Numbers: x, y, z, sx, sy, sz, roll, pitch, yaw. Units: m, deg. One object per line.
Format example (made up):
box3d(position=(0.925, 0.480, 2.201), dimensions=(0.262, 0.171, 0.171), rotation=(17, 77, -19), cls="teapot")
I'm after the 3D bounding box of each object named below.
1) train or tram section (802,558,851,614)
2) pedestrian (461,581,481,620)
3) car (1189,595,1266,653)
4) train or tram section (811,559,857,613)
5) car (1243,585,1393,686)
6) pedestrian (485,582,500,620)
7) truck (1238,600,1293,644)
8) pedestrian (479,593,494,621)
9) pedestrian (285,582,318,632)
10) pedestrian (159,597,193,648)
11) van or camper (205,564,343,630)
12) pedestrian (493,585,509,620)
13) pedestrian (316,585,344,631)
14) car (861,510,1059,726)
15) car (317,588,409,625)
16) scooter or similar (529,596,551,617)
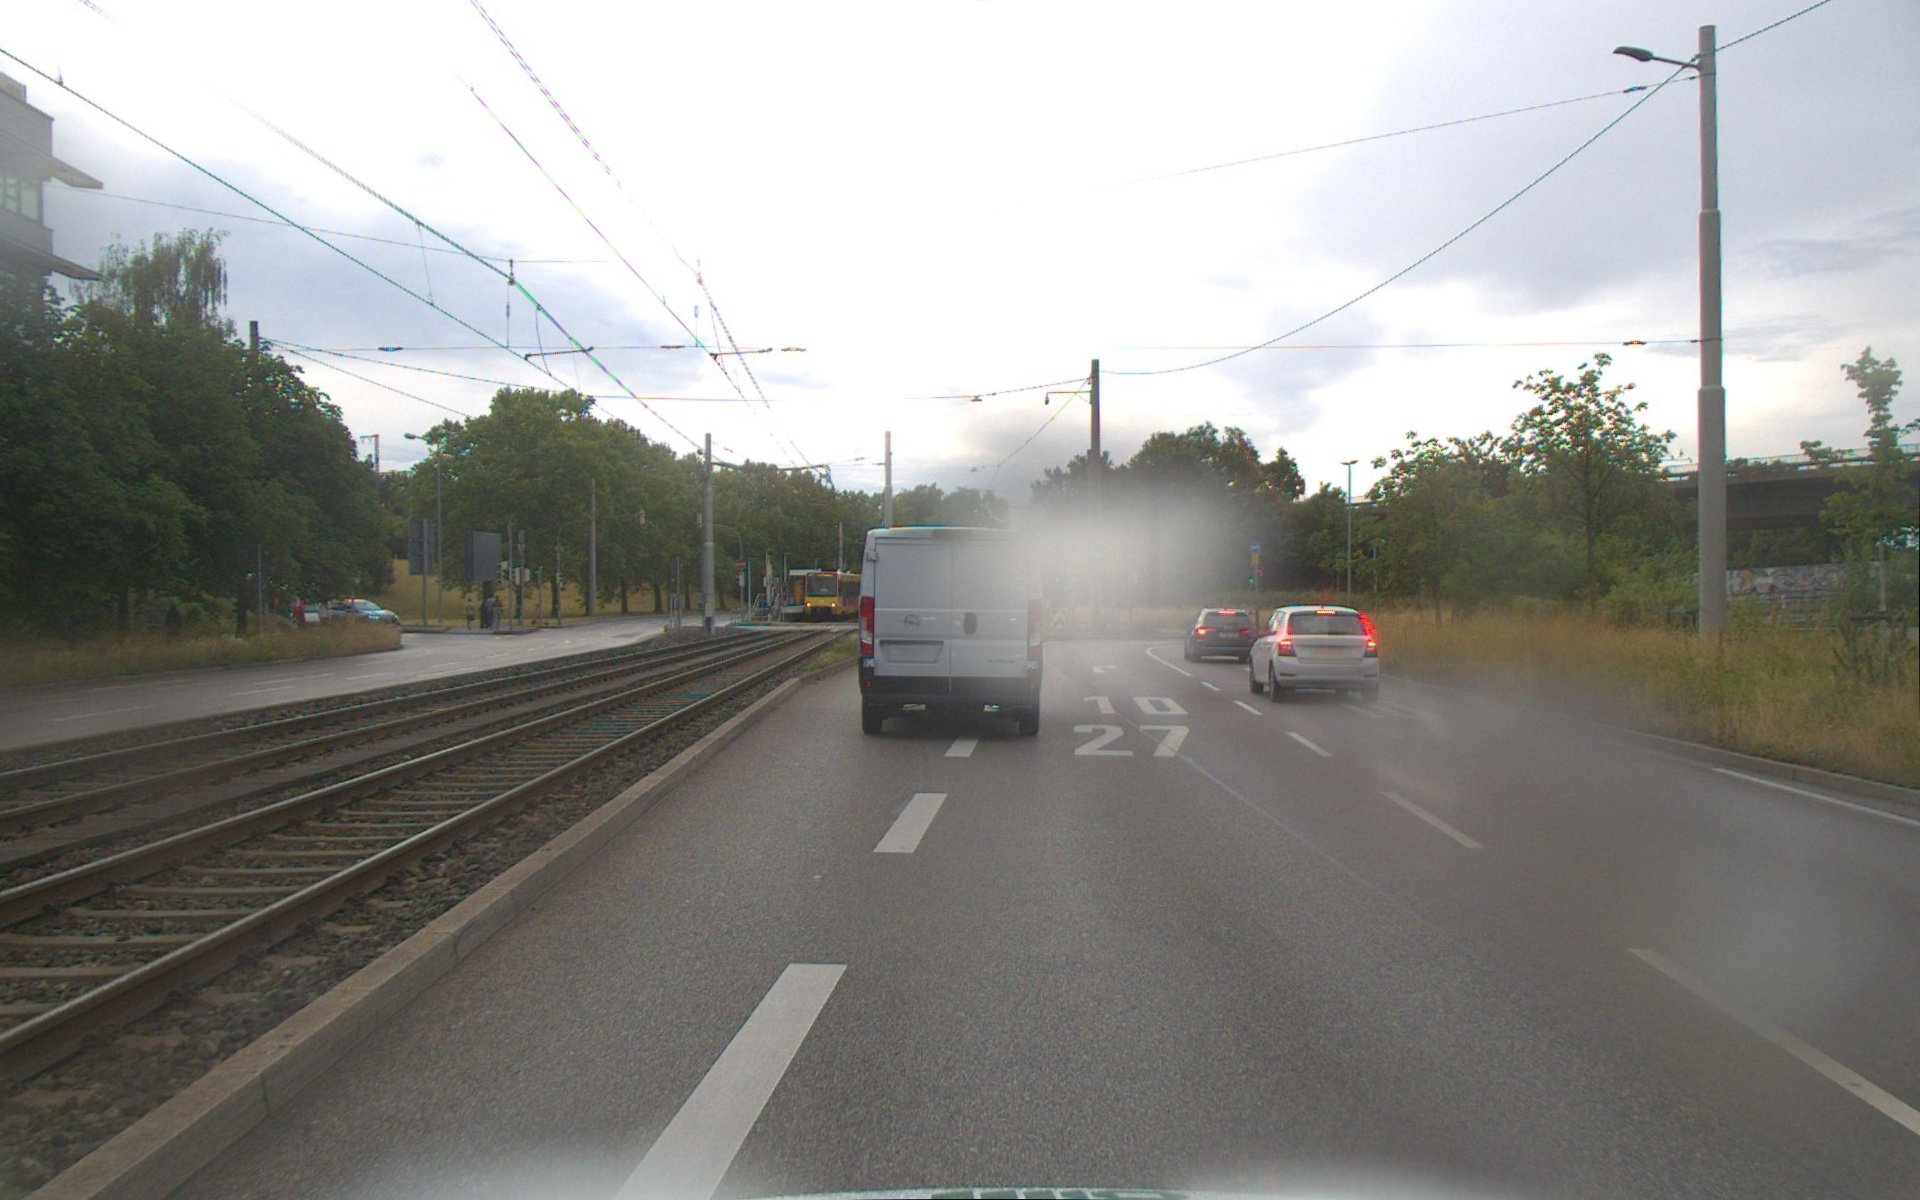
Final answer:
box3d(position=(-9.855, -1.022, 122.693), dimensions=(2.868, 4.001, 7.006), rotation=(2, 0, 1), cls="train or tram section")
box3d(position=(-25.849, 0.035, 87.423), dimensions=(0.870, 2.049, 0.864), rotation=(-1, 0, -6), cls="pedestrian")
box3d(position=(7.140, 0.613, 44.516), dimensions=(1.751, 1.474, 4.002), rotation=(1, 0, 5), cls="car")
box3d(position=(-9.781, -1.056, 129.132), dimensions=(2.868, 4.001, 7.006), rotation=(2, 0, 1), cls="train or tram section")
box3d(position=(5.691, 0.520, 26.658), dimensions=(1.710, 1.483, 3.672), rotation=(1, 1, 2), cls="car")
box3d(position=(-24.286, 0.057, 85.940), dimensions=(0.485, 1.989, 0.722), rotation=(2, 0, 3), cls="pedestrian")
box3d(position=(13.680, 0.948, 73.920), dimensions=(1.951, 1.822, 4.417), rotation=(-1, 1, 17), cls="truck")
box3d(position=(-25.062, 0.365, 87.544), dimensions=(0.485, 1.499, 0.722), rotation=(2, 0, 1), cls="pedestrian")
box3d(position=(-27.309, 0.289, 68.566), dimensions=(0.868, 2.049, 0.946), rotation=(-1, 0, 16), cls="pedestrian")
box3d(position=(-27.967, 0.803, 59.013), dimensions=(0.710, 1.786, 0.877), rotation=(2, 0, 1), cls="pedestrian")
box3d(position=(-32.874, -0.196, 79.188), dimensions=(7.221, 3.018, 2.484), rotation=(0, 1, 33), cls="van or camper")
box3d(position=(-23.818, 0.116, 85.882), dimensions=(0.495, 1.818, 0.832), rotation=(2, 0, 3), cls="pedestrian")
box3d(position=(-26.241, 0.330, 68.899), dimensions=(0.620, 1.900, 0.955), rotation=(-1, 0, 15), cls="pedestrian")
box3d(position=(-0.044, 0.151, 19.955), dimensions=(2.048, 2.234, 5.060), rotation=(1, 1, -1), cls="car")
box3d(position=(-29.699, 0.300, 82.269), dimensions=(4.533, 1.762, 1.995), rotation=(1, 1, 33), cls="car")
box3d(position=(-25.231, 0.386, 99.435), dimensions=(0.374, 1.182, 1.271), rotation=(0, 1, 44), cls="scooter or similar")
